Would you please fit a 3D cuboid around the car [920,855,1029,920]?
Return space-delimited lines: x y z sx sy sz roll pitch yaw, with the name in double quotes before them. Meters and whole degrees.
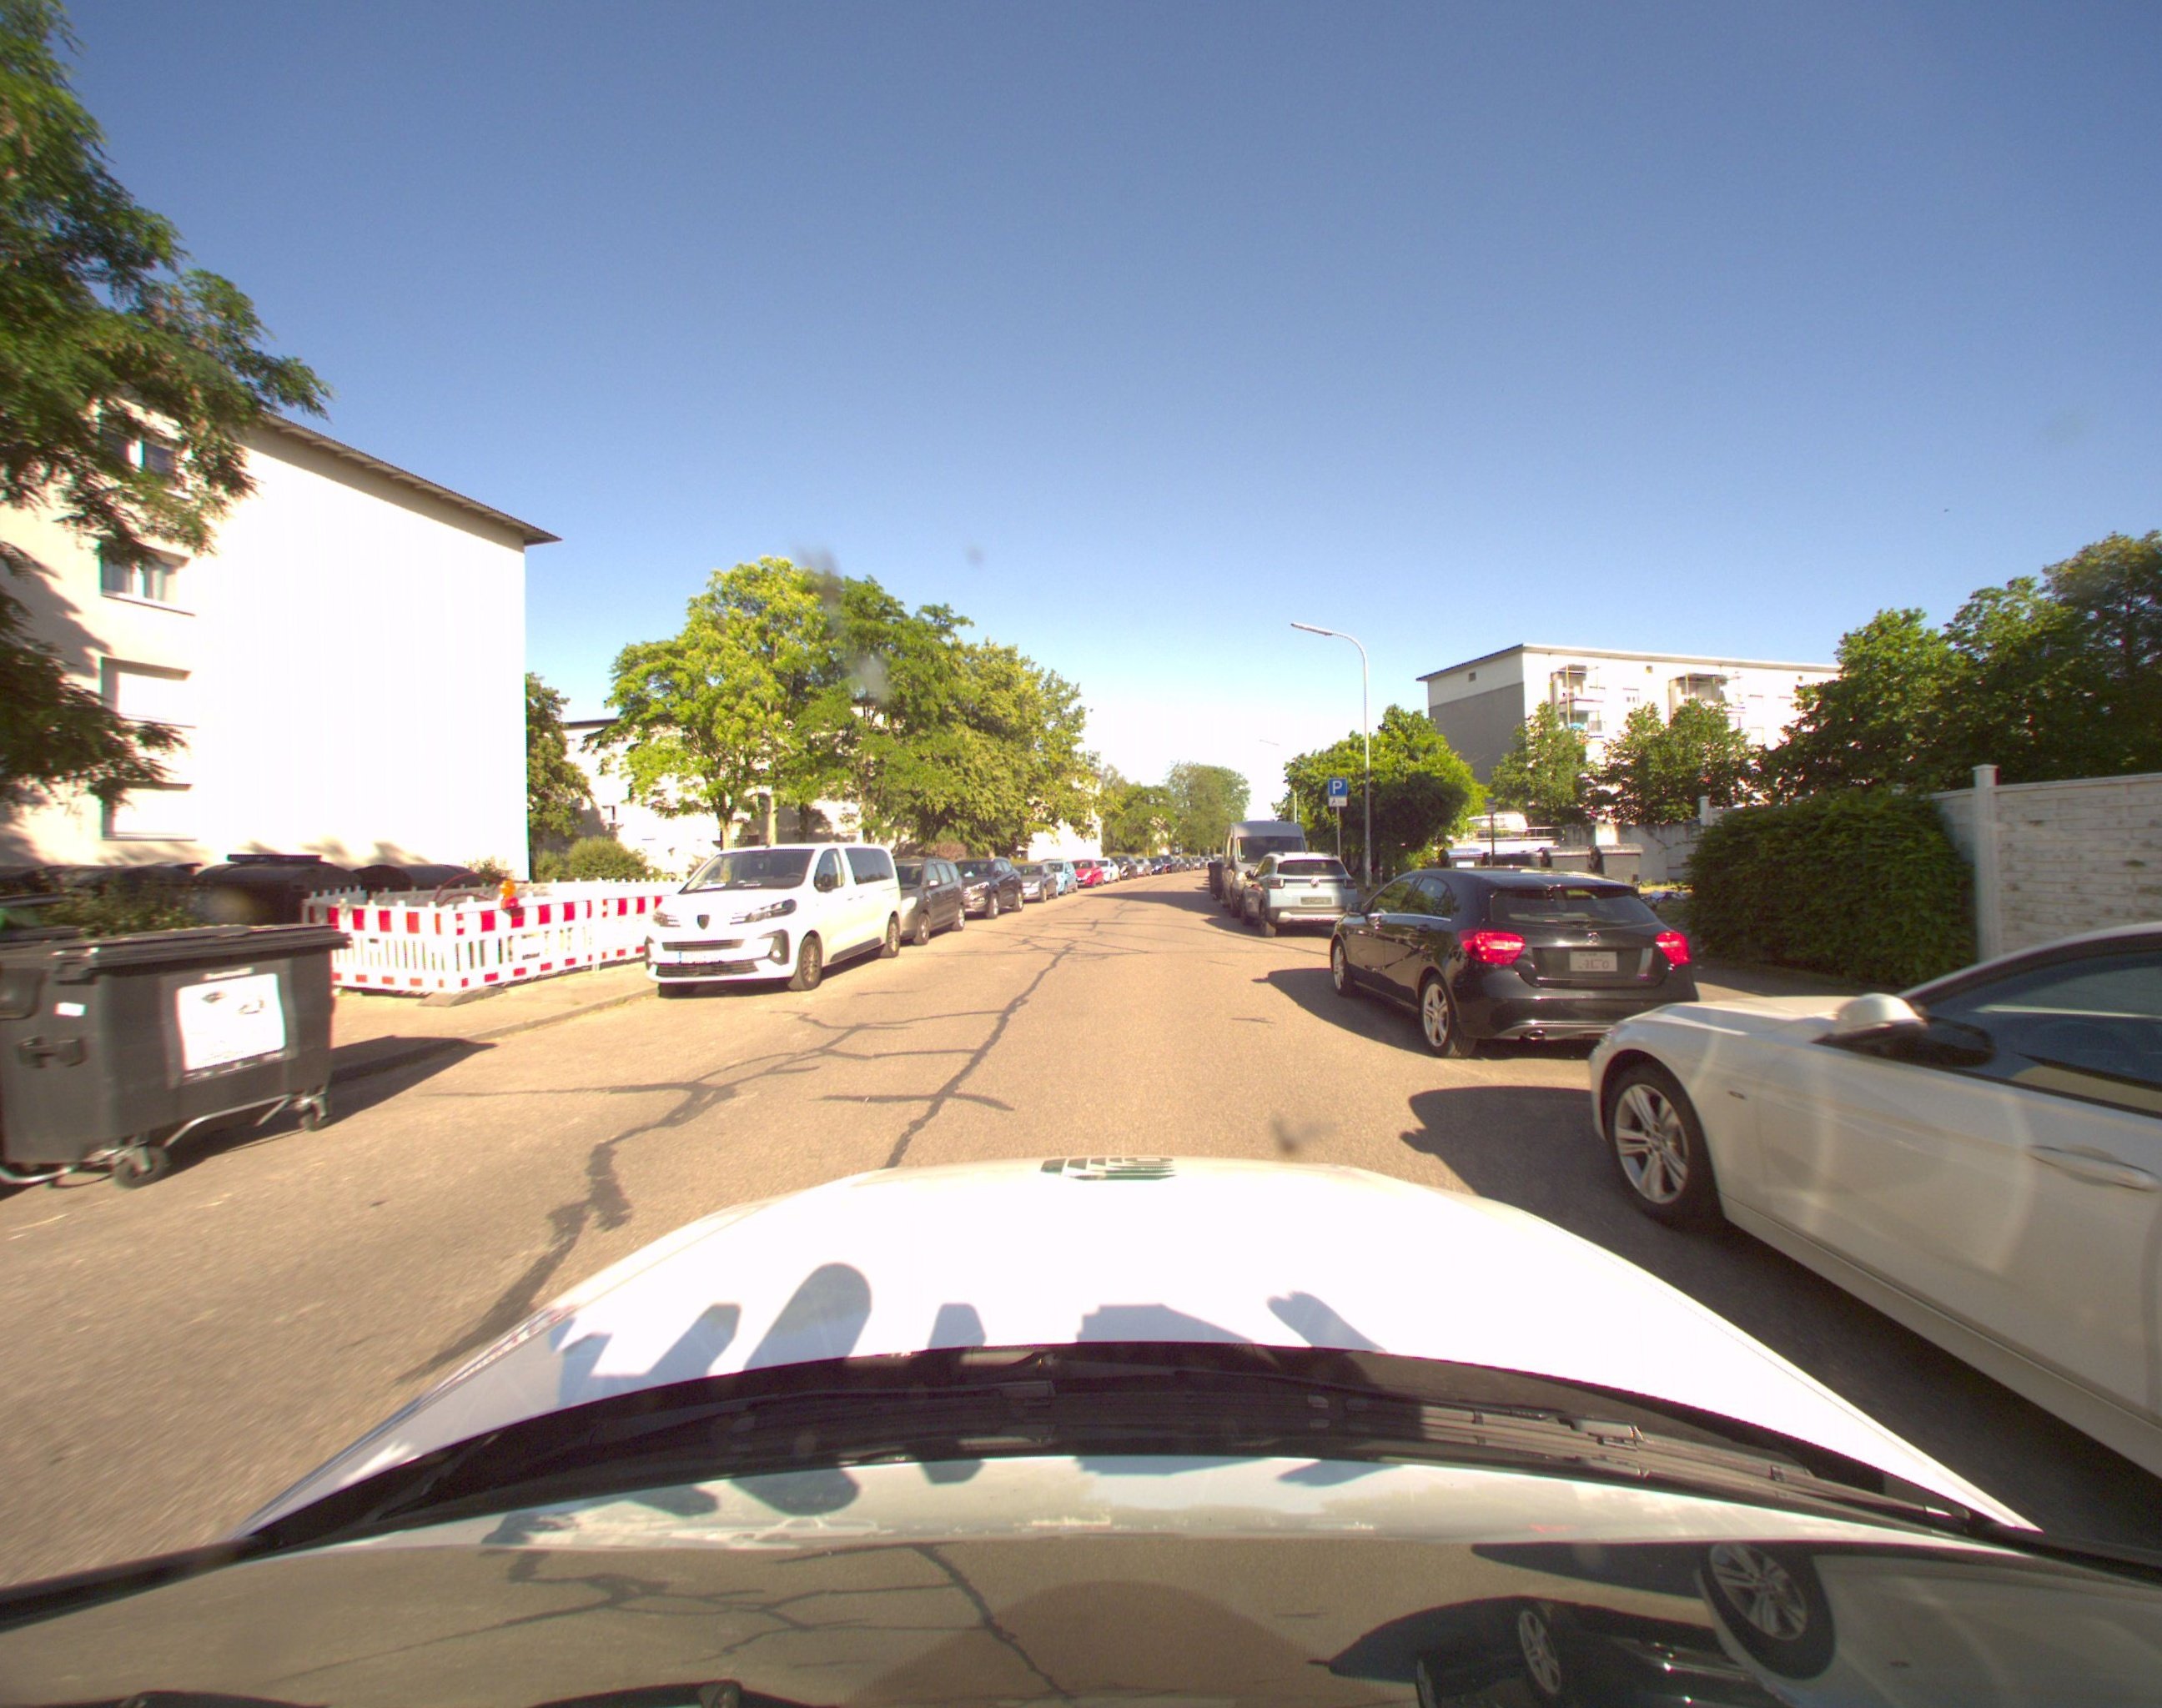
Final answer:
"car" -2.838 0.847 22.750 1.737 1.617 4.374 -2 0 10

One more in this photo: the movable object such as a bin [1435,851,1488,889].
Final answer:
"movable object such as a bin" 13.724 0.572 29.403 1.403 1.305 1.386 -2 -1 11

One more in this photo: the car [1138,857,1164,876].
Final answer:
"car" 5.675 0.966 66.037 1.650 1.426 4.060 -3 -1 10

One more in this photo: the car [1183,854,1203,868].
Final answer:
"car" 12.481 0.725 90.760 1.497 1.451 3.708 -3 -1 18

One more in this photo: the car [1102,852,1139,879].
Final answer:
"car" 2.650 0.746 54.153 1.659 1.666 4.421 -3 -1 12

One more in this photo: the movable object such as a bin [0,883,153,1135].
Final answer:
"movable object such as a bin" -6.686 0.894 4.936 1.060 1.400 0.892 0 0 -6

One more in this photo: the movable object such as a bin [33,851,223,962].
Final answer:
"movable object such as a bin" -13.740 0.726 11.796 1.252 1.489 1.282 -1 -1 5

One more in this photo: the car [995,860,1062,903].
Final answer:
"car" -1.886 0.964 30.327 1.661 1.437 4.009 -2 -1 8

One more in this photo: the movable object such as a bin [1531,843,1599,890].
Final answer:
"movable object such as a bin" 15.163 0.393 25.578 1.418 1.373 1.386 -3 -1 11

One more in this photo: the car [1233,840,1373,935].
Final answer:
"car" 4.366 0.625 16.723 1.901 1.666 4.379 -1 -1 4

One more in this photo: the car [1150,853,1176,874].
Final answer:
"car" 7.231 0.799 71.291 1.648 1.688 4.064 -3 -1 14

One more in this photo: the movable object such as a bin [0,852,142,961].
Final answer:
"movable object such as a bin" -15.057 0.742 11.873 1.252 1.489 1.282 -1 -1 5

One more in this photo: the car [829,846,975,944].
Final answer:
"car" -3.500 0.745 16.771 1.547 1.722 4.348 -2 0 6

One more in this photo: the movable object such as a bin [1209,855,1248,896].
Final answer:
"movable object such as a bin" 5.215 0.758 28.784 1.219 1.397 1.175 -1 -1 15

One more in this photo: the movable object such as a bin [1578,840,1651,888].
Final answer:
"movable object such as a bin" 16.615 0.309 25.421 1.418 1.373 1.386 -3 -1 11

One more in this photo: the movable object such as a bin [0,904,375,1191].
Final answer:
"movable object such as a bin" -5.110 0.995 4.704 0.798 1.316 1.325 -1 0 10

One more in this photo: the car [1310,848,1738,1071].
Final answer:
"car" 3.626 0.747 7.747 1.901 1.488 4.379 -1 -1 4

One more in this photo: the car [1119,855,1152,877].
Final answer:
"car" 4.088 0.863 60.478 1.648 1.486 4.068 -3 -1 14

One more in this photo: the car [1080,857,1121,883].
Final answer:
"car" 1.186 0.913 47.669 1.659 1.421 3.914 -2 -1 12

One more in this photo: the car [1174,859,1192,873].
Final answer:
"car" 10.550 1.236 84.229 1.379 1.413 3.137 -3 -1 15

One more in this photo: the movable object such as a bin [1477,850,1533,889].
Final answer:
"movable object such as a bin" 15.143 0.539 29.134 1.403 1.305 1.386 -2 -1 11

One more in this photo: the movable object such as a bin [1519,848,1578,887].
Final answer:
"movable object such as a bin" 16.555 0.483 28.890 1.403 1.305 1.386 -2 -1 11

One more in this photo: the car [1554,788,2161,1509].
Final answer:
"car" 3.179 0.590 1.821 1.901 1.488 4.379 -1 -1 4

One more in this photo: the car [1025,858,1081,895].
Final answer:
"car" -1.160 0.946 35.506 1.660 1.474 3.688 -3 -1 10

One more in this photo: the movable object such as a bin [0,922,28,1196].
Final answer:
"movable object such as a bin" -5.690 1.013 3.508 0.605 1.340 1.271 -1 -1 7

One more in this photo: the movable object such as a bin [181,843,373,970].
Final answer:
"movable object such as a bin" -10.583 0.657 10.796 1.255 1.551 1.279 -1 -1 -2

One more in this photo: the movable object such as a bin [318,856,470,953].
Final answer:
"movable object such as a bin" -10.625 0.753 12.664 1.271 1.402 1.263 -1 -1 2

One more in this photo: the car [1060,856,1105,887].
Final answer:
"car" 0.100 0.871 42.332 1.660 1.474 3.688 -3 -1 10

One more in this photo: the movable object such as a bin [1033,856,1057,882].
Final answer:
"movable object such as a bin" -2.073 0.869 47.420 1.104 1.498 1.412 -1 0 8

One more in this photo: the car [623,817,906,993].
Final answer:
"car" -4.131 0.596 11.643 1.855 1.961 4.676 -2 0 5

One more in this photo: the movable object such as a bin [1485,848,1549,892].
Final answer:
"movable object such as a bin" 13.728 0.493 25.701 1.403 1.305 1.386 -2 -1 11

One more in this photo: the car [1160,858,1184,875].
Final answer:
"car" 8.545 1.145 76.338 1.648 1.439 3.774 -3 -1 14

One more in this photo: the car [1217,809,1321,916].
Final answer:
"car" 4.904 0.217 22.063 2.094 2.486 5.866 0 -1 7

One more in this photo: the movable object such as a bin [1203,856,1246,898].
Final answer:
"movable object such as a bin" 4.879 0.766 27.657 1.259 1.313 1.127 -2 1 15
